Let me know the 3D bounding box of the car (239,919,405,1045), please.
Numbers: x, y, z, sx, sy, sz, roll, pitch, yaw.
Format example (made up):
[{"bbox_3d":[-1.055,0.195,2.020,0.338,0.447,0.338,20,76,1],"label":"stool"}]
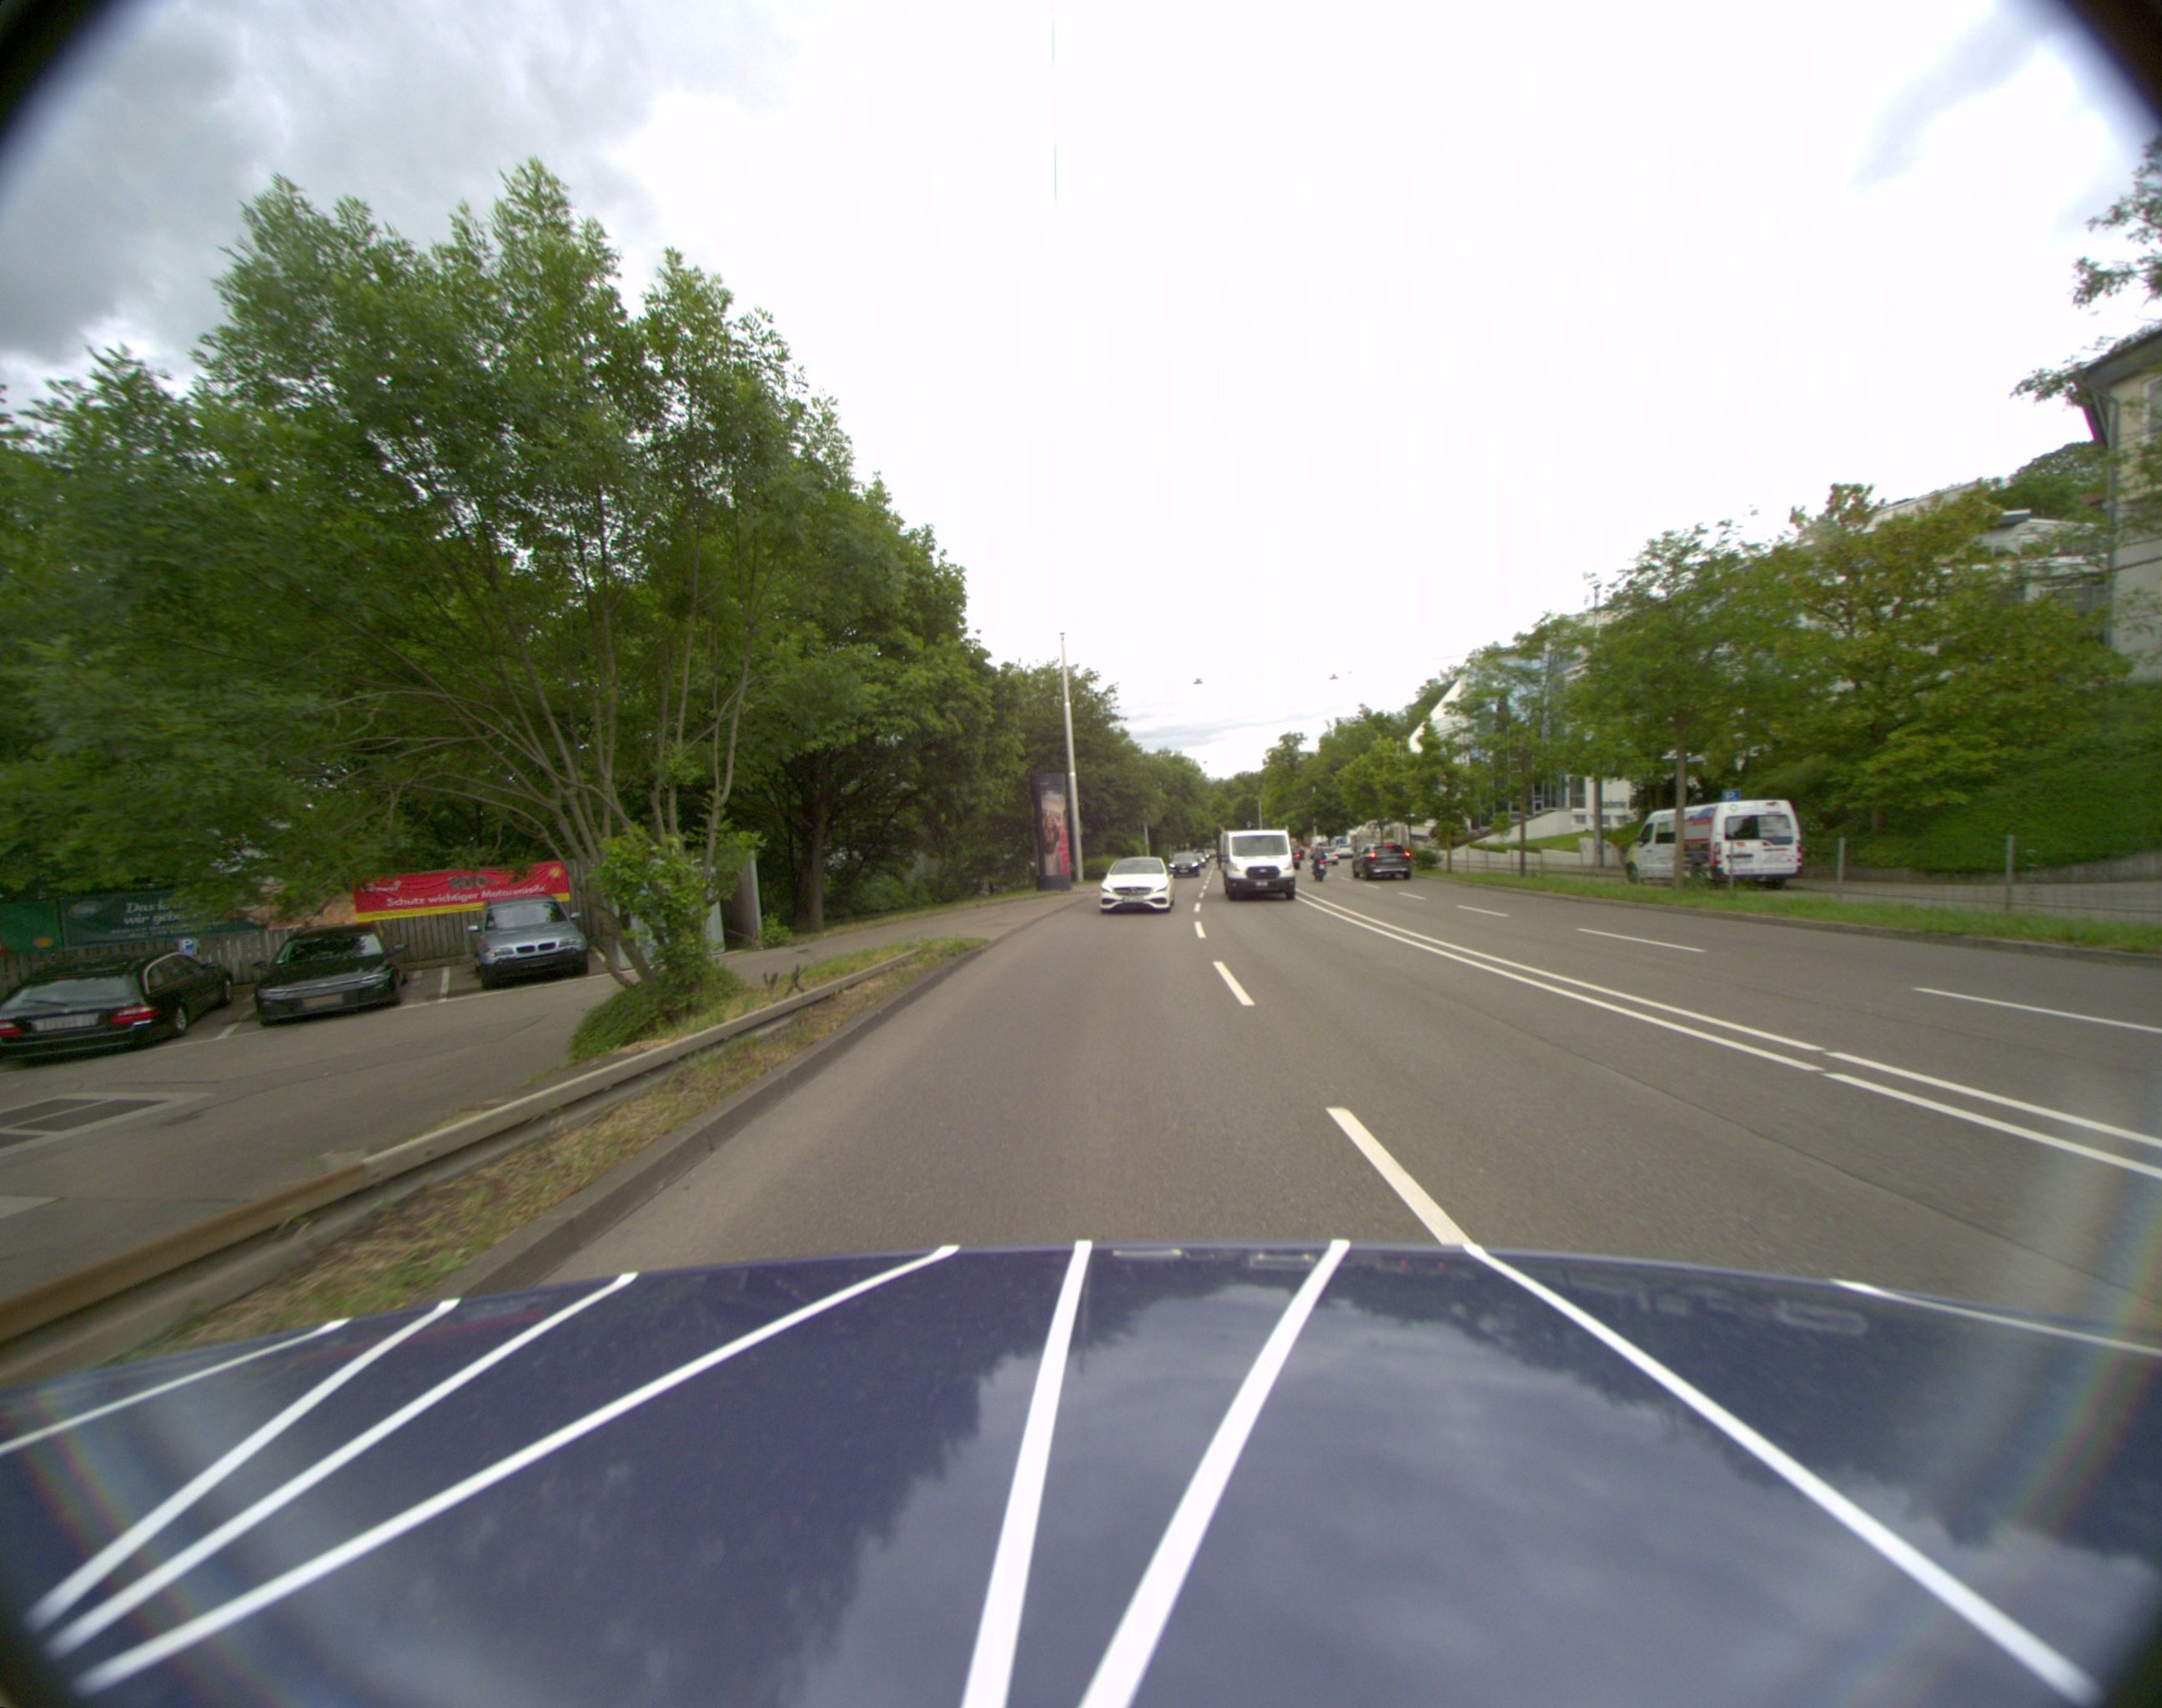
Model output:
[{"bbox_3d":[-14.153,2.248,14.413,1.737,1.419,4.280,-8,6,-40],"label":"car"}]

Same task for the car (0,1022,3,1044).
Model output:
[{"bbox_3d":[-18.140,2.686,11.001,1.738,1.428,4.205,-4,4,-39],"label":"car"}]

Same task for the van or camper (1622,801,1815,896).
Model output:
[{"bbox_3d":[18.893,-0.177,22.965,1.997,2.458,5.714,-2,1,12],"label":"van or camper"}]

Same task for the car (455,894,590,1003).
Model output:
[{"bbox_3d":[-12.148,1.895,16.422,1.737,1.583,4.280,-8,6,-42],"label":"car"}]

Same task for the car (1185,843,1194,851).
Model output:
[{"bbox_3d":[26.518,-1.603,186.010,1.998,1.880,4.001,-1,1,4],"label":"car"}]

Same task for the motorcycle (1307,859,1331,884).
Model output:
[{"bbox_3d":[10.875,0.791,34.761,0.484,1.050,2.268,-1,1,4],"label":"motorcycle"}]

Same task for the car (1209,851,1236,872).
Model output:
[{"bbox_3d":[11.265,0.552,60.689,1.997,1.540,4.003,-2,0,9],"label":"car"}]

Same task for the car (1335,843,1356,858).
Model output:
[{"bbox_3d":[28.699,-0.372,82.476,1.671,1.495,4.241,-2,1,12],"label":"car"}]

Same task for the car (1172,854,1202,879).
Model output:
[{"bbox_3d":[6.671,0.777,47.905,1.733,1.403,4.002,-3,0,8],"label":"car"}]

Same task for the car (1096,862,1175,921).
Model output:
[{"bbox_3d":[1.575,0.939,20.484,1.820,1.339,4.002,-1,1,8],"label":"car"}]

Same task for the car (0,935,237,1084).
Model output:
[{"bbox_3d":[-16.238,2.453,12.912,1.737,1.429,4.280,-7,6,-39],"label":"car"}]

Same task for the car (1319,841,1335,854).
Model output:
[{"bbox_3d":[35.195,-0.898,108.577,1.809,1.741,4.254,-4,0,14],"label":"car"}]

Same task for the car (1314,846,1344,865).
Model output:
[{"bbox_3d":[19.291,0.095,59.176,1.568,1.423,3.893,-3,0,10],"label":"car"}]

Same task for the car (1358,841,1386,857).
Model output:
[{"bbox_3d":[26.852,-0.489,70.317,1.676,1.420,4.093,-2,0,11],"label":"car"}]

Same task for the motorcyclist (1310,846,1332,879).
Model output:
[{"bbox_3d":[10.878,0.378,34.495,0.762,1.476,0.961,0,1,5],"label":"motorcyclist"}]

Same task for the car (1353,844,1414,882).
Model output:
[{"bbox_3d":[13.640,0.360,34.479,1.788,1.566,4.471,-1,0,11],"label":"car"}]

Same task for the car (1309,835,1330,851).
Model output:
[{"bbox_3d":[38.727,-1.773,123.431,1.997,2.511,6.537,-4,0,8],"label":"car"}]

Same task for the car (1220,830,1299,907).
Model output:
[{"bbox_3d":[5.752,0.417,25.198,1.997,2.161,6.272,-2,0,9],"label":"car"}]

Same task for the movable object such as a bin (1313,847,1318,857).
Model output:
[{"bbox_3d":[27.911,-0.234,90.466,0.588,1.131,0.646,-3,1,17],"label":"movable object such as a bin"}]

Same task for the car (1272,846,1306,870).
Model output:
[{"bbox_3d":[14.299,0.271,52.406,1.788,1.530,4.078,-2,0,10],"label":"car"}]

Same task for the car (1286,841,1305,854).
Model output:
[{"bbox_3d":[29.390,-0.865,104.157,1.767,1.698,4.873,-3,0,8],"label":"car"}]
